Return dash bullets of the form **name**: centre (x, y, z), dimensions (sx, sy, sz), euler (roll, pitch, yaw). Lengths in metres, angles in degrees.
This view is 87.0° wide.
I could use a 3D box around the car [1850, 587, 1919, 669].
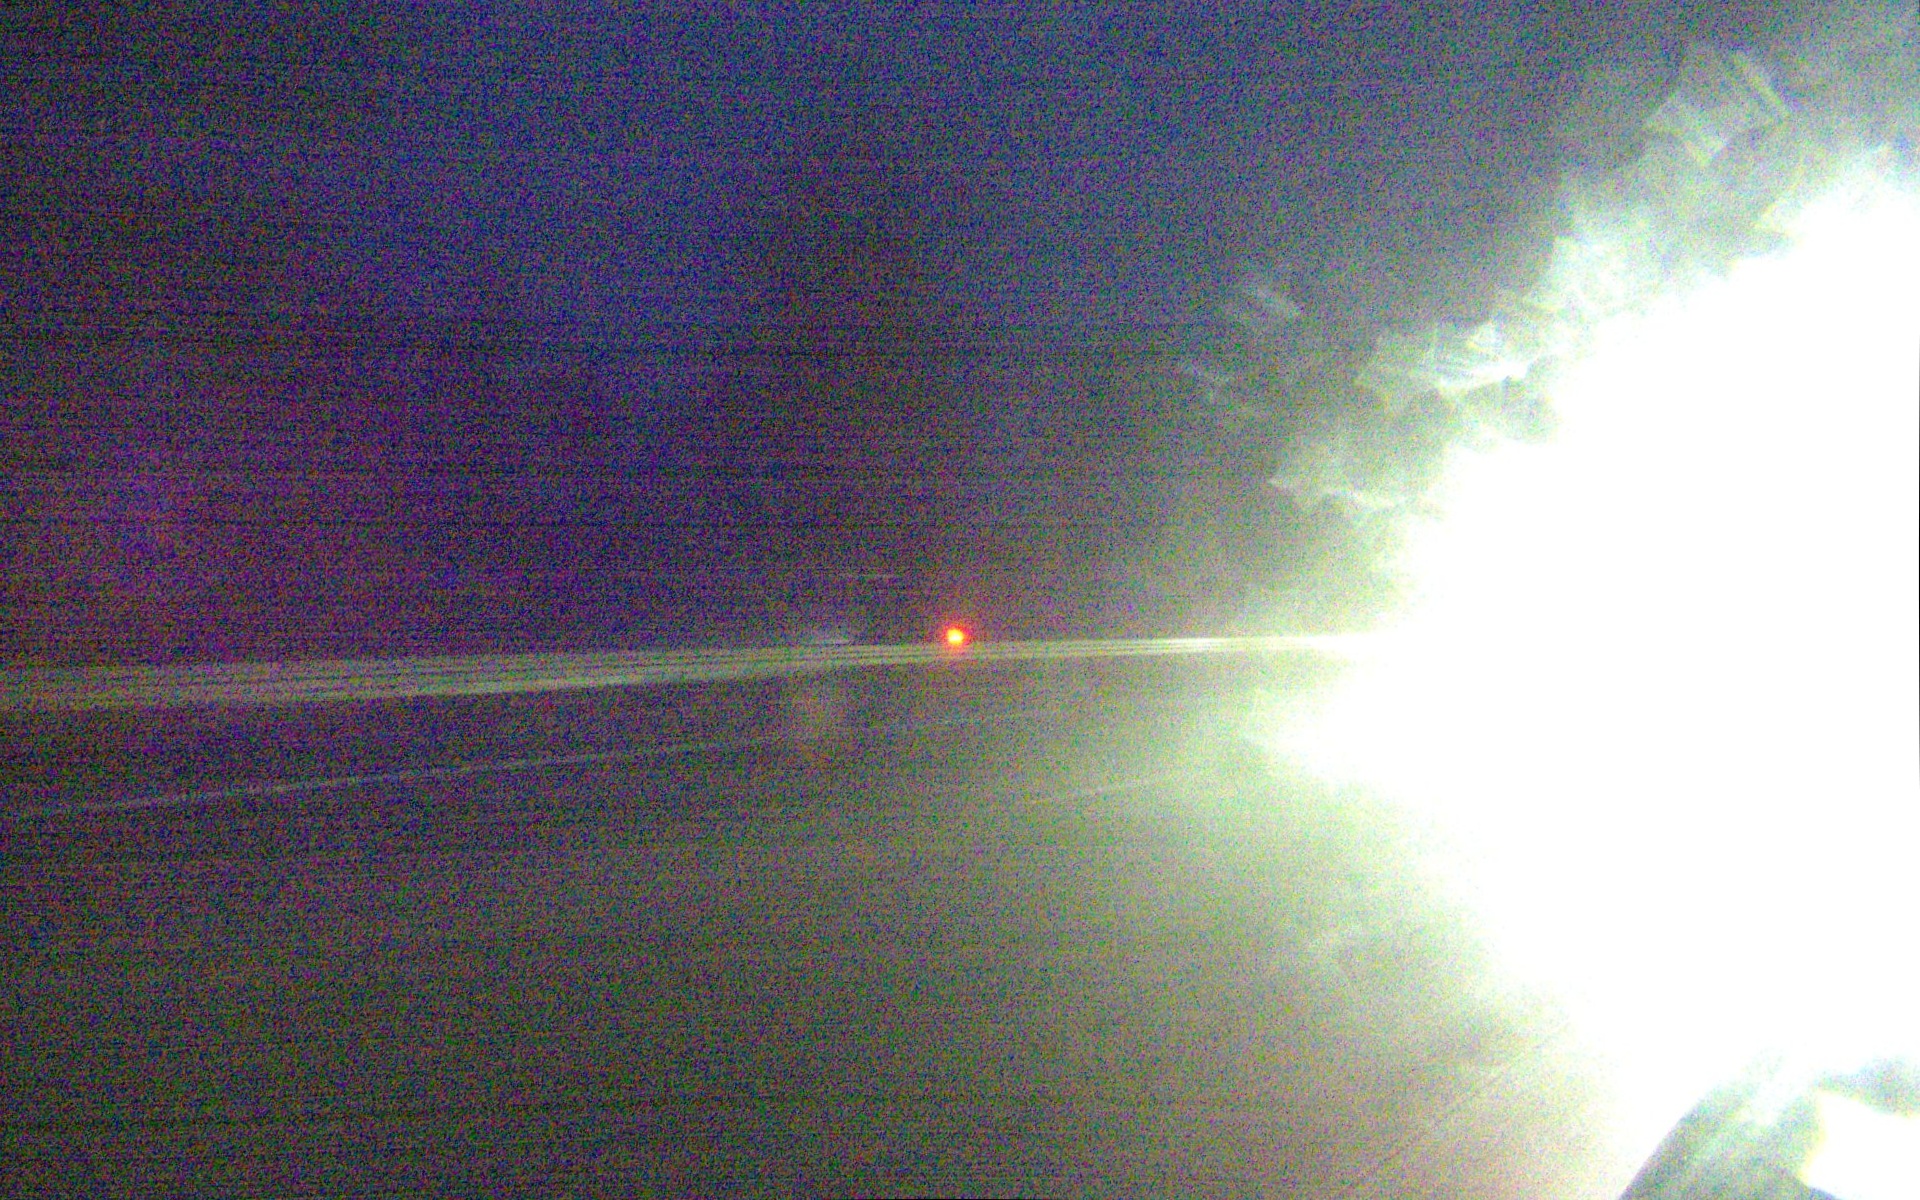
- **car**: centre (20.488, 0.609, 21.365), dimensions (3.610, 1.646, 1.847), euler (2, -4, -38)
